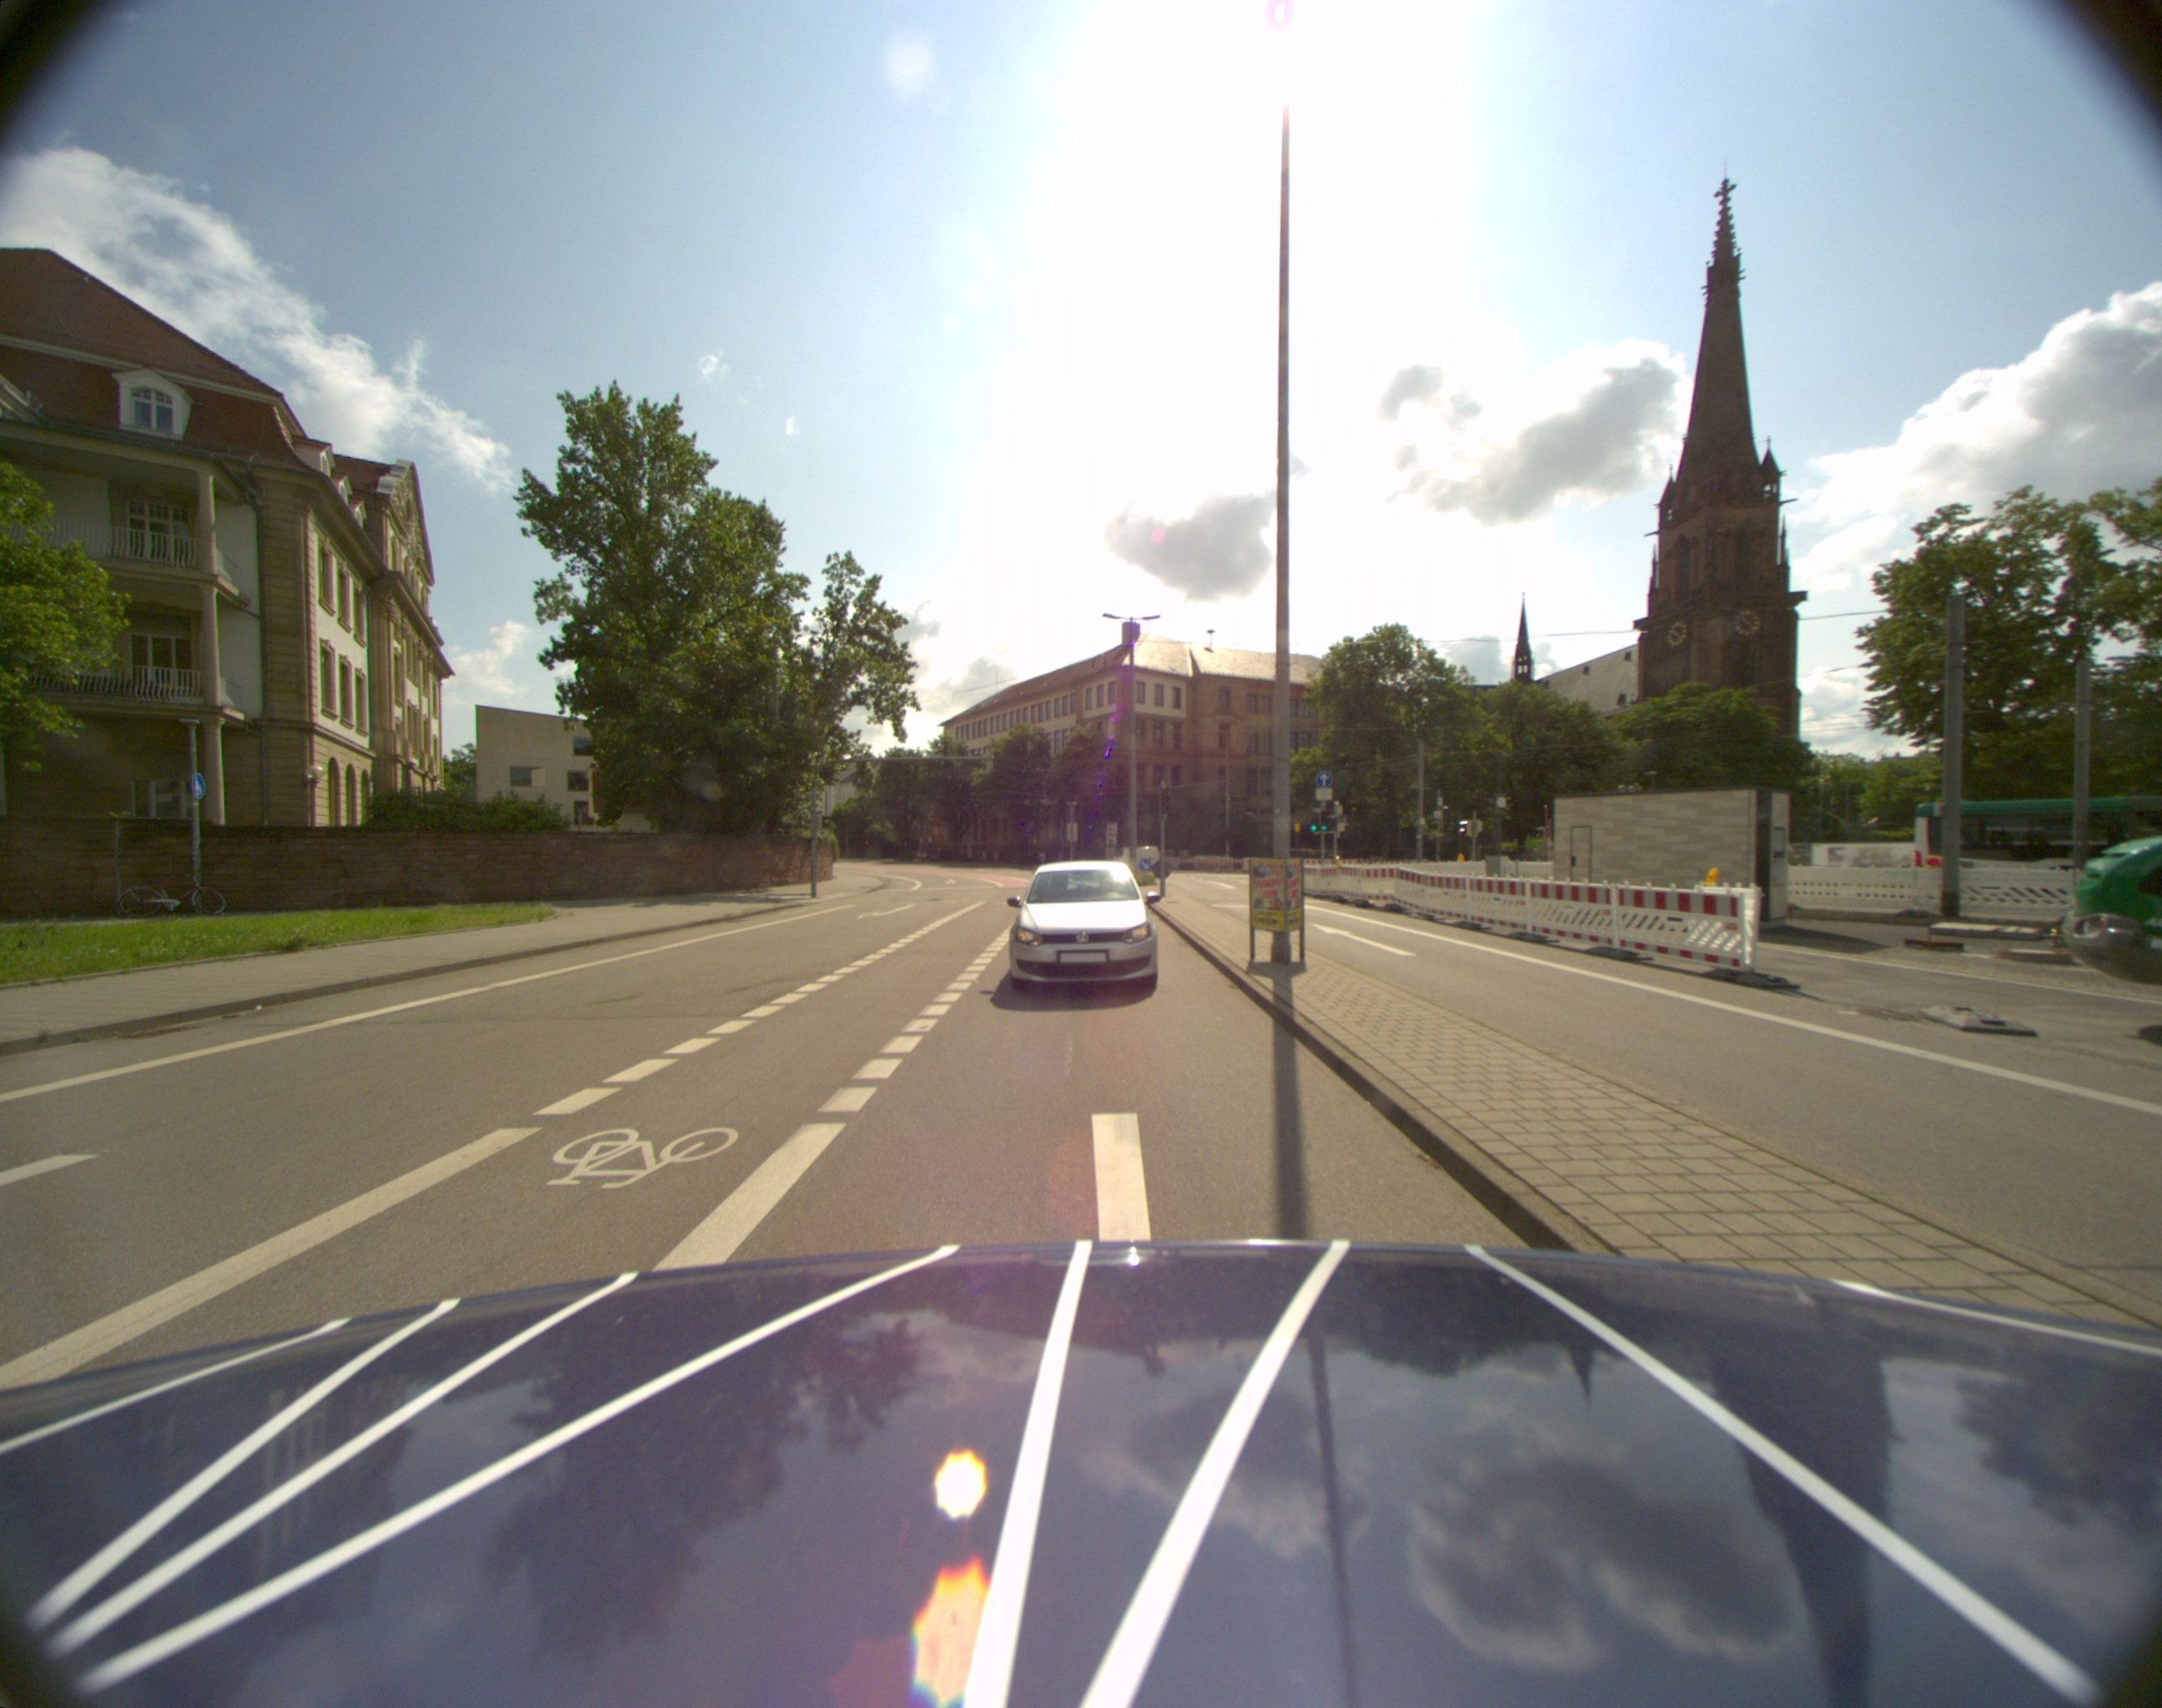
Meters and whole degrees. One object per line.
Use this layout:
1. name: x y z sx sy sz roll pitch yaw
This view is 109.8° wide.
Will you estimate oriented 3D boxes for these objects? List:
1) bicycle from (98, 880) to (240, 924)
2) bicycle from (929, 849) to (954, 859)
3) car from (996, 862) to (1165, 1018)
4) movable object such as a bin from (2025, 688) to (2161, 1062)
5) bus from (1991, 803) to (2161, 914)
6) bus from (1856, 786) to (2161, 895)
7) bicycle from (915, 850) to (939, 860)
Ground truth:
1. bicycle: -21.323 1.092 17.842 0.856 0.856 2.065 4 3 44
2. bicycle: -17.855 0.056 97.266 2.891 1.201 1.050 0 4 8
3. car: 0.000 0.888 9.692 1.655 1.433 4.004 -2 1 0
4. movable object such as a bin: 10.381 0.183 5.388 2.004 2.932 4.437 -1 1 -43
5. bus: 31.185 0.123 20.843 2.378 3.040 7.742 0 1 -34
6. bus: 33.093 -0.417 23.751 2.999 3.243 12.043 0 1 -34
7. bicycle: -20.192 0.101 99.503 2.891 1.201 1.073 0 4 8
